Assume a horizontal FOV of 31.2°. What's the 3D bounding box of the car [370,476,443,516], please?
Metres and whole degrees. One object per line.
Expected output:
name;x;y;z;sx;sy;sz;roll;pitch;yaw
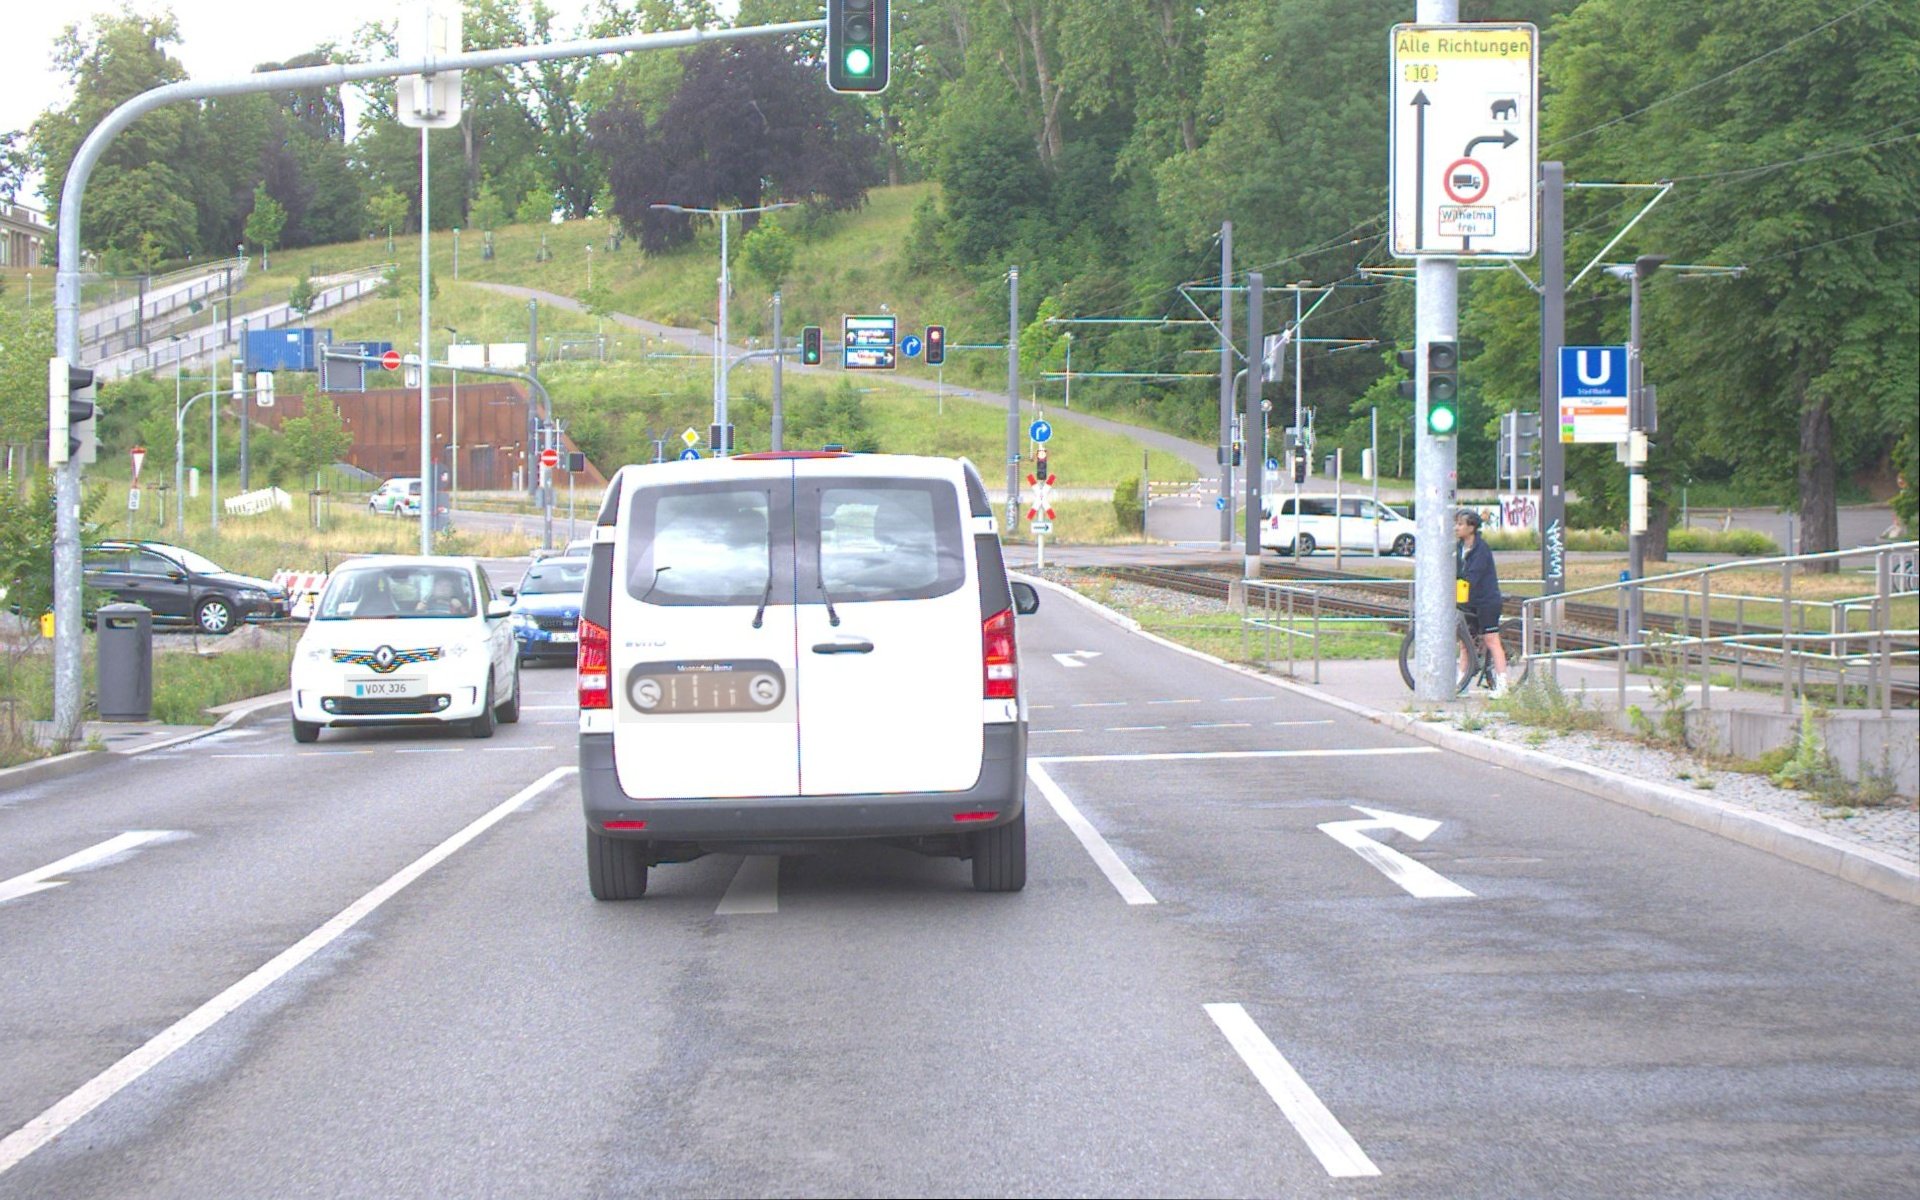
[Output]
car;-23.846;-4.480;147.960;1.937;1.621;4.001;0;1;-27

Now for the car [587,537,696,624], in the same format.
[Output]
car;-5.900;-0.364;64.049;1.730;1.523;4.445;-1;1;-2

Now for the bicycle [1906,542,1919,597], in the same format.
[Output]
bicycle;17.735;-0.551;60.703;1.912;0.972;0.531;-1;1;-1

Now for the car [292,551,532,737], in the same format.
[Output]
car;-4.735;0.341;30.159;1.591;1.512;4.085;0;0;-2

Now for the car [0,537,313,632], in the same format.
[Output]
car;-13.376;-0.266;57.241;4.711;1.472;2.000;0;2;9

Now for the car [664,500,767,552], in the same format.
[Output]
car;-7.924;-2.405;111.255;1.937;1.621;4.001;0;1;-26

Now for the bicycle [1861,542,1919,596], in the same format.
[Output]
bicycle;17.620;-0.578;63.336;1.912;0.972;0.531;-1;1;-1

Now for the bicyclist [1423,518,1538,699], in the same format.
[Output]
bicyclist;4.638;0.064;30.650;0.804;1.567;0.618;-1;3;-41

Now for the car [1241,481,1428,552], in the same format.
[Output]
car;11.259;-2.498;103.417;5.133;2.007;2.208;1;1;-10

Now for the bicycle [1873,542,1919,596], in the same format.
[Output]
bicycle;17.599;-0.567;62.410;1.912;0.972;0.531;-1;1;-1

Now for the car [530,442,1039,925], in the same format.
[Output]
car;-0.643;0.292;15.786;1.959;1.897;4.461;0;1;2

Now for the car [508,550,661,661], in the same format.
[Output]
car;-5.091;0.054;47.038;1.730;1.416;4.445;-1;1;-2

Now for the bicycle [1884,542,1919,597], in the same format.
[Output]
bicycle;17.546;-0.556;61.427;1.912;0.972;0.531;-1;1;-1

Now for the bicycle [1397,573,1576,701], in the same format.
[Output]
bicycle;4.712;0.315;30.718;1.679;1.070;0.620;-2;3;-41
